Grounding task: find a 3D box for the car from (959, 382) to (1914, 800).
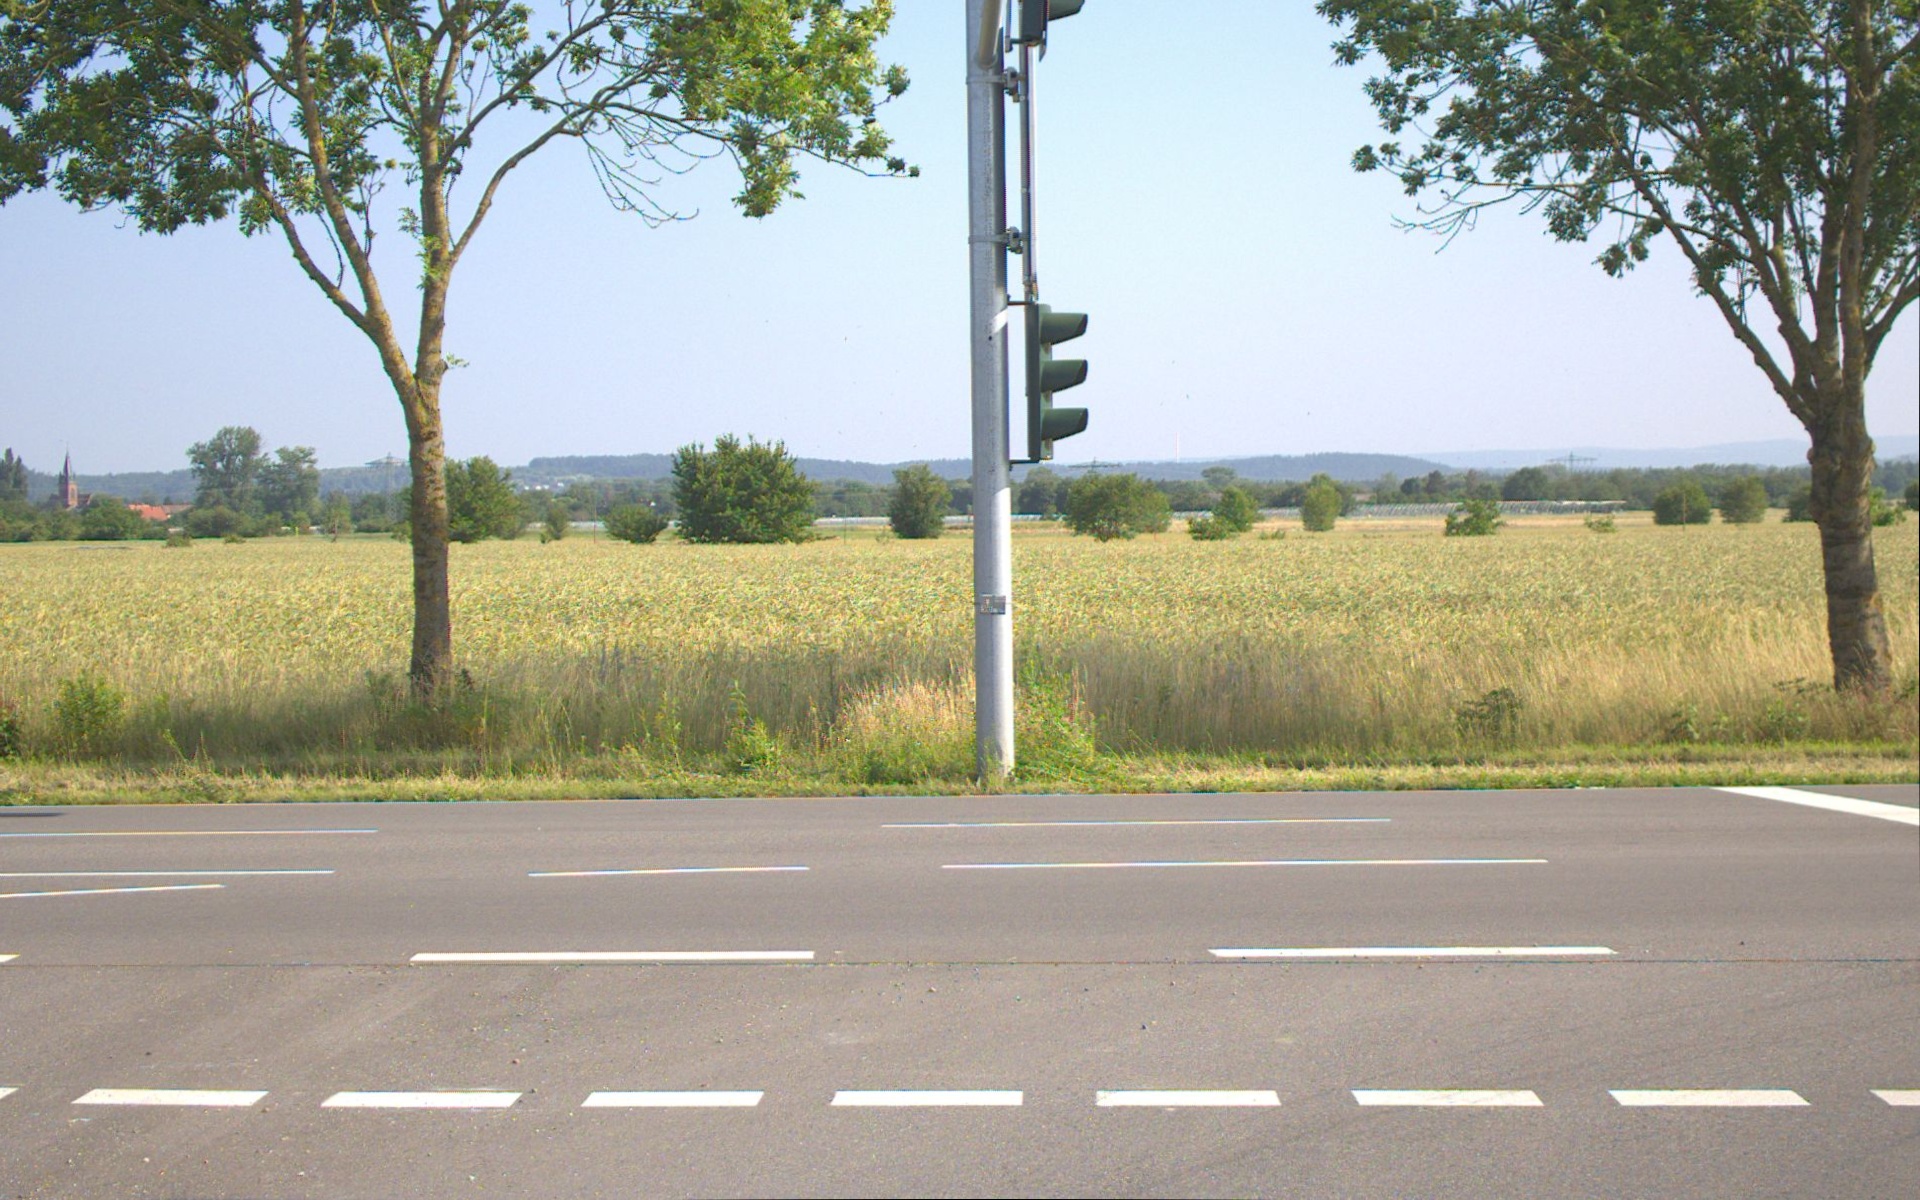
[{"bbox_3d":[3.076,-0.041,23.039,5.889,2.568,2.393,1,0,-7],"label":"car"}]
